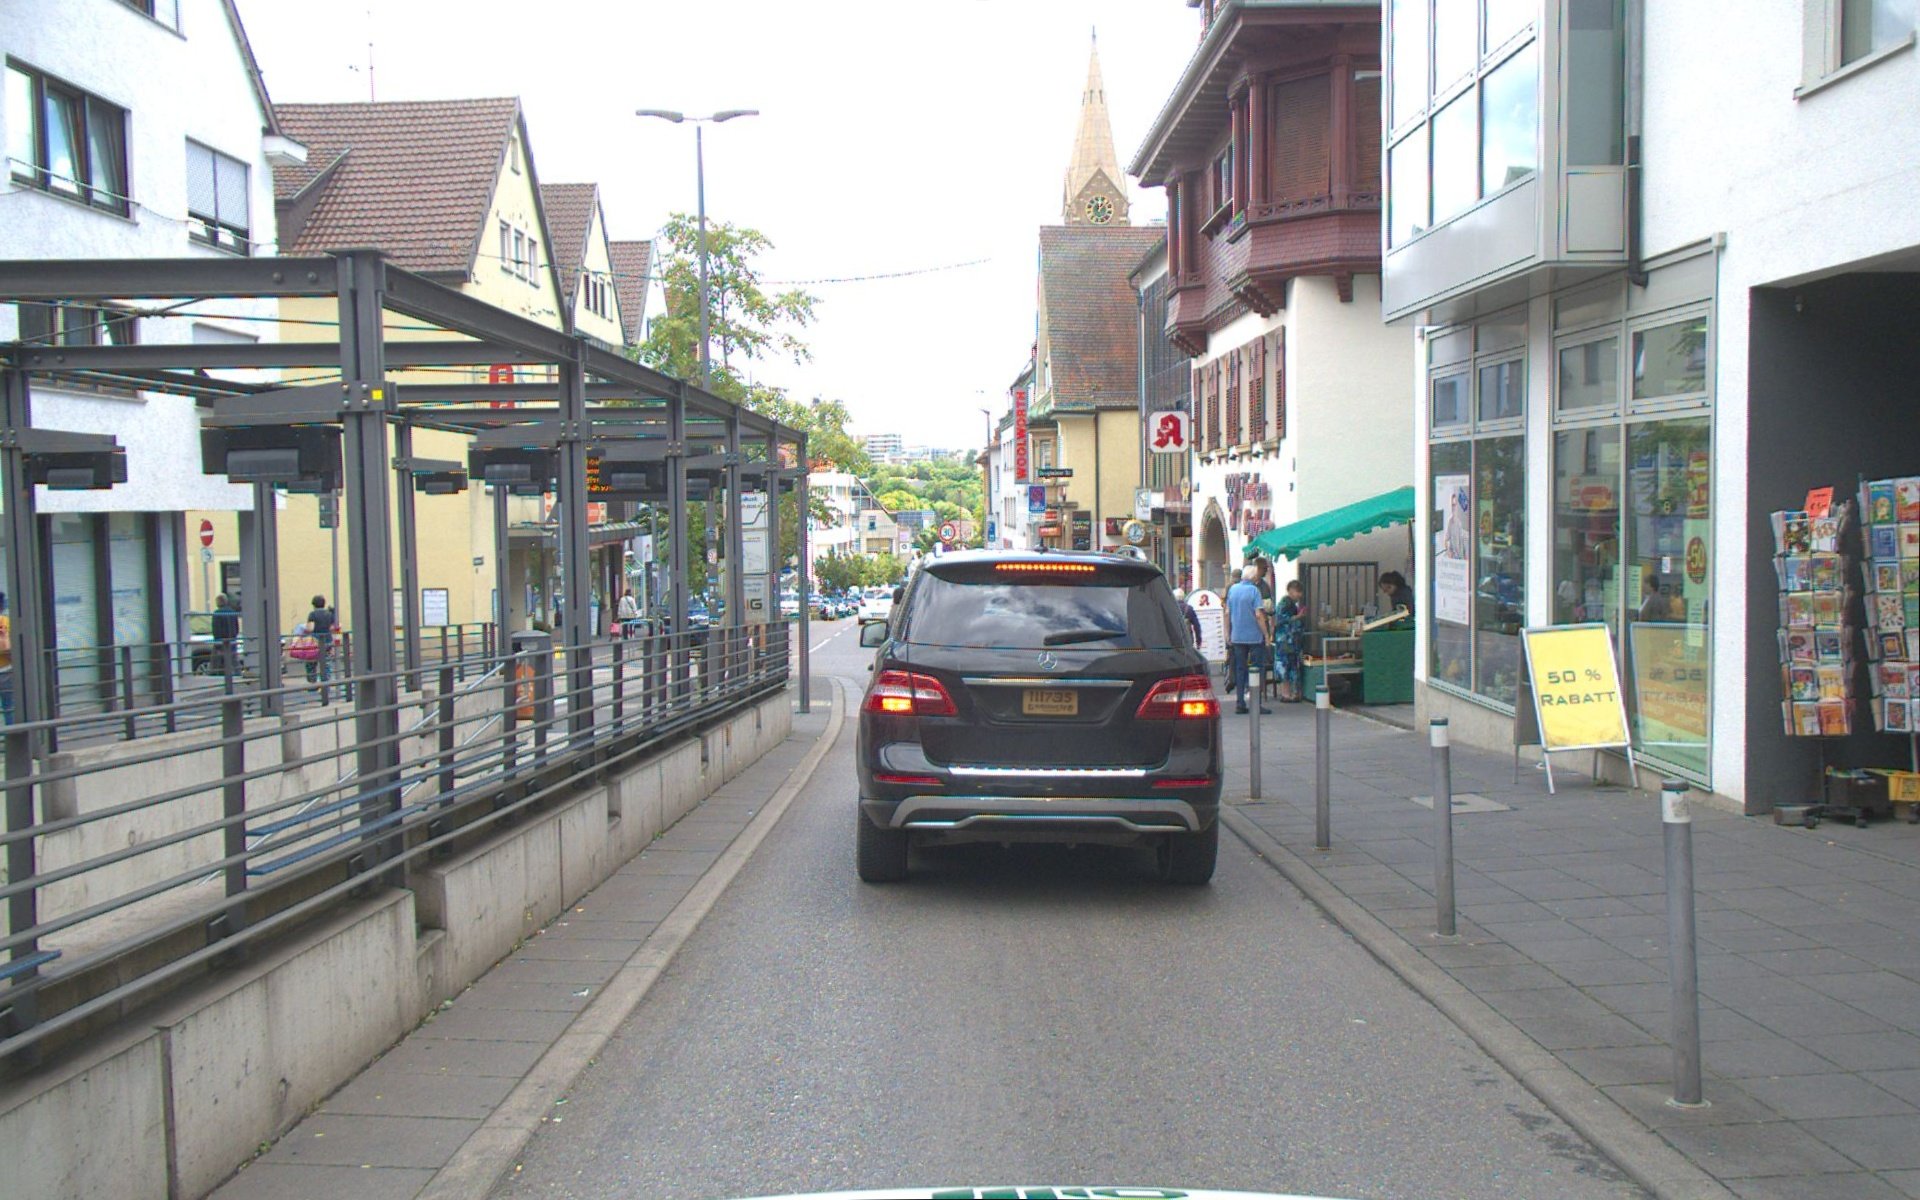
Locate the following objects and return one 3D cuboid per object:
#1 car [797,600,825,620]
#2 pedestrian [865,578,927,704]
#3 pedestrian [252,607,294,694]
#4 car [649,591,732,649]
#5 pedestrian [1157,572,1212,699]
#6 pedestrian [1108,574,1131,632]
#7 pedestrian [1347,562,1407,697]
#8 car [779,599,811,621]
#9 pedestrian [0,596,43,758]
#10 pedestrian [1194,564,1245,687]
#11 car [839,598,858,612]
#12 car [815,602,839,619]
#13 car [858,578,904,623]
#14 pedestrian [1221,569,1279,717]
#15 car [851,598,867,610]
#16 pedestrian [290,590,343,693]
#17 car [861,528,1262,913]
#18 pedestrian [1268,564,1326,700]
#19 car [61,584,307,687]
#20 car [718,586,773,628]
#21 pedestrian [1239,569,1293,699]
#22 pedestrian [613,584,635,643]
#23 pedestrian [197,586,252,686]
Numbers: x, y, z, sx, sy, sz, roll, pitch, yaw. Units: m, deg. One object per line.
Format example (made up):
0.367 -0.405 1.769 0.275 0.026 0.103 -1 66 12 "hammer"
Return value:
-8.849 0.575 98.182 1.360 1.089 3.113 -1 0 0 "car"
-0.888 0.560 23.060 0.749 1.718 0.728 1 0 5 "pedestrian"
-11.716 0.852 28.217 0.447 1.446 0.533 1 0 2 "pedestrian"
-7.500 0.536 46.389 1.655 1.516 3.979 2 0 0 "car"
3.076 0.478 22.718 0.609 1.718 0.565 1 0 -7 "pedestrian"
4.787 0.094 49.683 0.594 1.718 0.724 -1 0 -1 "pedestrian"
5.409 0.379 21.464 0.562 1.718 0.565 -1 0 -7 "pedestrian"
-8.582 0.518 86.333 1.360 1.089 3.112 -1 0 0 "car"
-10.379 0.822 17.900 0.566 1.718 0.576 1 0 -1 "pedestrian"
3.934 0.380 25.106 0.626 1.841 0.684 1 0 -1 "pedestrian"
-8.940 0.401 132.746 1.360 1.089 3.112 -1 0 0 "car"
-8.952 0.674 111.519 1.360 1.089 3.112 -1 0 0 "car"
-3.206 0.016 67.980 1.734 1.743 3.999 1 0 -1 "car"
3.520 0.514 20.103 0.531 1.756 0.527 -1 0 -7 "pedestrian"
-9.771 0.391 160.012 1.360 1.089 3.112 -1 0 0 "car"
-11.007 0.701 28.307 0.613 1.718 0.679 1 0 -1 "pedestrian"
0.405 0.558 9.750 1.862 1.777 3.998 1 0 -2 "car"
4.335 0.402 21.310 0.562 1.718 0.565 -1 0 -7 "pedestrian"
-15.339 0.665 32.769 4.091 1.761 1.836 3 1 12 "car"
-8.216 0.249 63.688 1.626 1.516 3.747 1 0 0 "car"
4.131 0.451 22.349 0.562 1.718 0.565 1 0 -7 "pedestrian"
-9.783 0.395 48.209 0.502 1.718 0.541 1 0 -1 "pedestrian"
-12.898 0.622 29.023 0.639 1.718 0.730 1 0 -3 "pedestrian"
